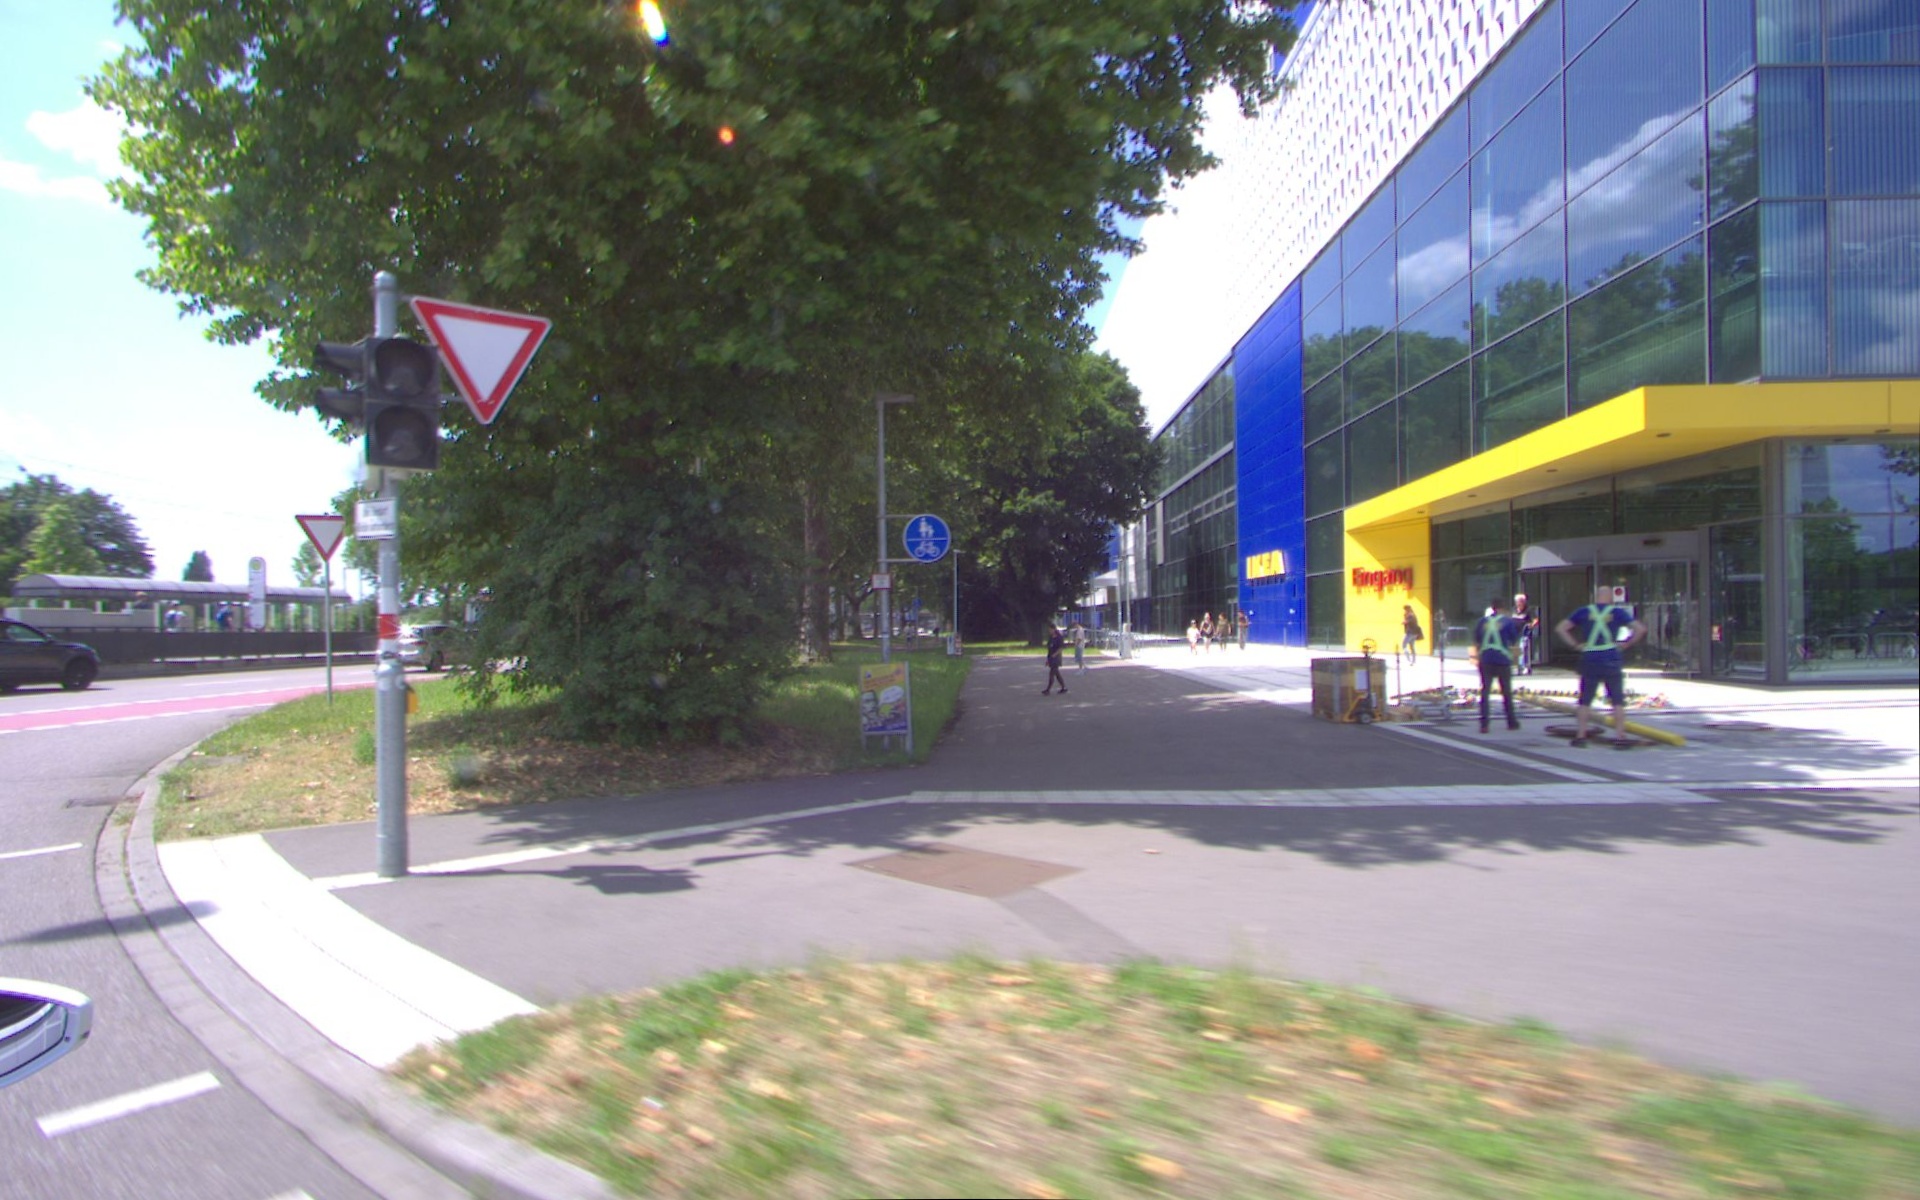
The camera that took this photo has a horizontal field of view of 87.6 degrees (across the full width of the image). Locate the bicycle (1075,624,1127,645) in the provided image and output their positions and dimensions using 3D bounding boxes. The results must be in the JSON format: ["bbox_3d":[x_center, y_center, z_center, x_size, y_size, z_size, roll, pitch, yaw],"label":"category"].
[{"bbox_3d":[7.851,1.936,55.779,2.735,1.136,0.893,-2,-1,27],"label":"bicycle"}]

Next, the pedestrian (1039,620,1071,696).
[{"bbox_3d":[2.187,1.321,23.048,0.581,1.686,0.719,-3,1,0],"label":"pedestrian"}]

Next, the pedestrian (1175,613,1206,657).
[{"bbox_3d":[8.890,1.331,38.644,0.877,1.685,0.780,0,0,-37],"label":"pedestrian"}]

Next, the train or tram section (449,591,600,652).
[{"bbox_3d":[-25.893,1.356,60.793,2.988,3.226,14.106,0,-2,0],"label":"train or tram section"}]

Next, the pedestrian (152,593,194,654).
[{"bbox_3d":[-24.731,0.732,31.485,0.667,1.896,0.871,0,0,34],"label":"pedestrian"}]

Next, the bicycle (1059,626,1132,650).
[{"bbox_3d":[7.268,2.026,53.817,3.779,1.191,0.983,-2,-1,28],"label":"bicycle"}]

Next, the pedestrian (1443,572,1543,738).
[{"bbox_3d":[7.062,0.723,13.329,0.957,2.099,1.009,-2,-1,18],"label":"pedestrian"}]

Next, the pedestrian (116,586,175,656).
[{"bbox_3d":[-23.346,0.605,28.727,0.859,1.965,0.994,0,0,2],"label":"pedestrian"}]

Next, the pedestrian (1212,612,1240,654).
[{"bbox_3d":[11.036,1.363,41.545,0.877,1.685,0.780,0,-1,-37],"label":"pedestrian"}]

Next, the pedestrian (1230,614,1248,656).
[{"bbox_3d":[11.381,1.414,40.890,0.541,1.685,0.481,0,0,-41],"label":"pedestrian"}]

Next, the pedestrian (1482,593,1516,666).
[{"bbox_3d":[14.324,0.785,26.614,0.606,1.910,0.781,0,0,12],"label":"pedestrian"}]

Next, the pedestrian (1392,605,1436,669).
[{"bbox_3d":[12.250,0.985,27.023,0.792,1.685,0.701,-2,0,-27],"label":"pedestrian"}]

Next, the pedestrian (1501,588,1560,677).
[{"bbox_3d":[12.606,0.704,22.121,0.963,1.910,0.880,0,0,43],"label":"pedestrian"}]

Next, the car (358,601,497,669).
[{"bbox_3d":[-16.830,1.075,31.924,1.961,2.015,4.363,0,-1,3],"label":"car"}]

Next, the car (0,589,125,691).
[{"bbox_3d":[-19.921,0.808,20.448,1.961,2.014,4.365,0,-2,3],"label":"car"}]

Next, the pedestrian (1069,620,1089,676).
[{"bbox_3d":[3.611,1.436,30.312,0.581,1.685,0.720,0,0,8],"label":"pedestrian"}]

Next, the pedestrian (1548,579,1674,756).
[{"bbox_3d":[7.493,0.756,11.580,0.957,1.927,1.009,-1,0,18],"label":"pedestrian"}]

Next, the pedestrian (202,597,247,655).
[{"bbox_3d":[-23.055,0.816,31.407,0.722,1.778,0.930,0,-1,3],"label":"pedestrian"}]

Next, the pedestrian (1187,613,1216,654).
[{"bbox_3d":[10.173,1.399,42.152,0.877,1.685,0.779,0,-1,-37],"label":"pedestrian"}]
